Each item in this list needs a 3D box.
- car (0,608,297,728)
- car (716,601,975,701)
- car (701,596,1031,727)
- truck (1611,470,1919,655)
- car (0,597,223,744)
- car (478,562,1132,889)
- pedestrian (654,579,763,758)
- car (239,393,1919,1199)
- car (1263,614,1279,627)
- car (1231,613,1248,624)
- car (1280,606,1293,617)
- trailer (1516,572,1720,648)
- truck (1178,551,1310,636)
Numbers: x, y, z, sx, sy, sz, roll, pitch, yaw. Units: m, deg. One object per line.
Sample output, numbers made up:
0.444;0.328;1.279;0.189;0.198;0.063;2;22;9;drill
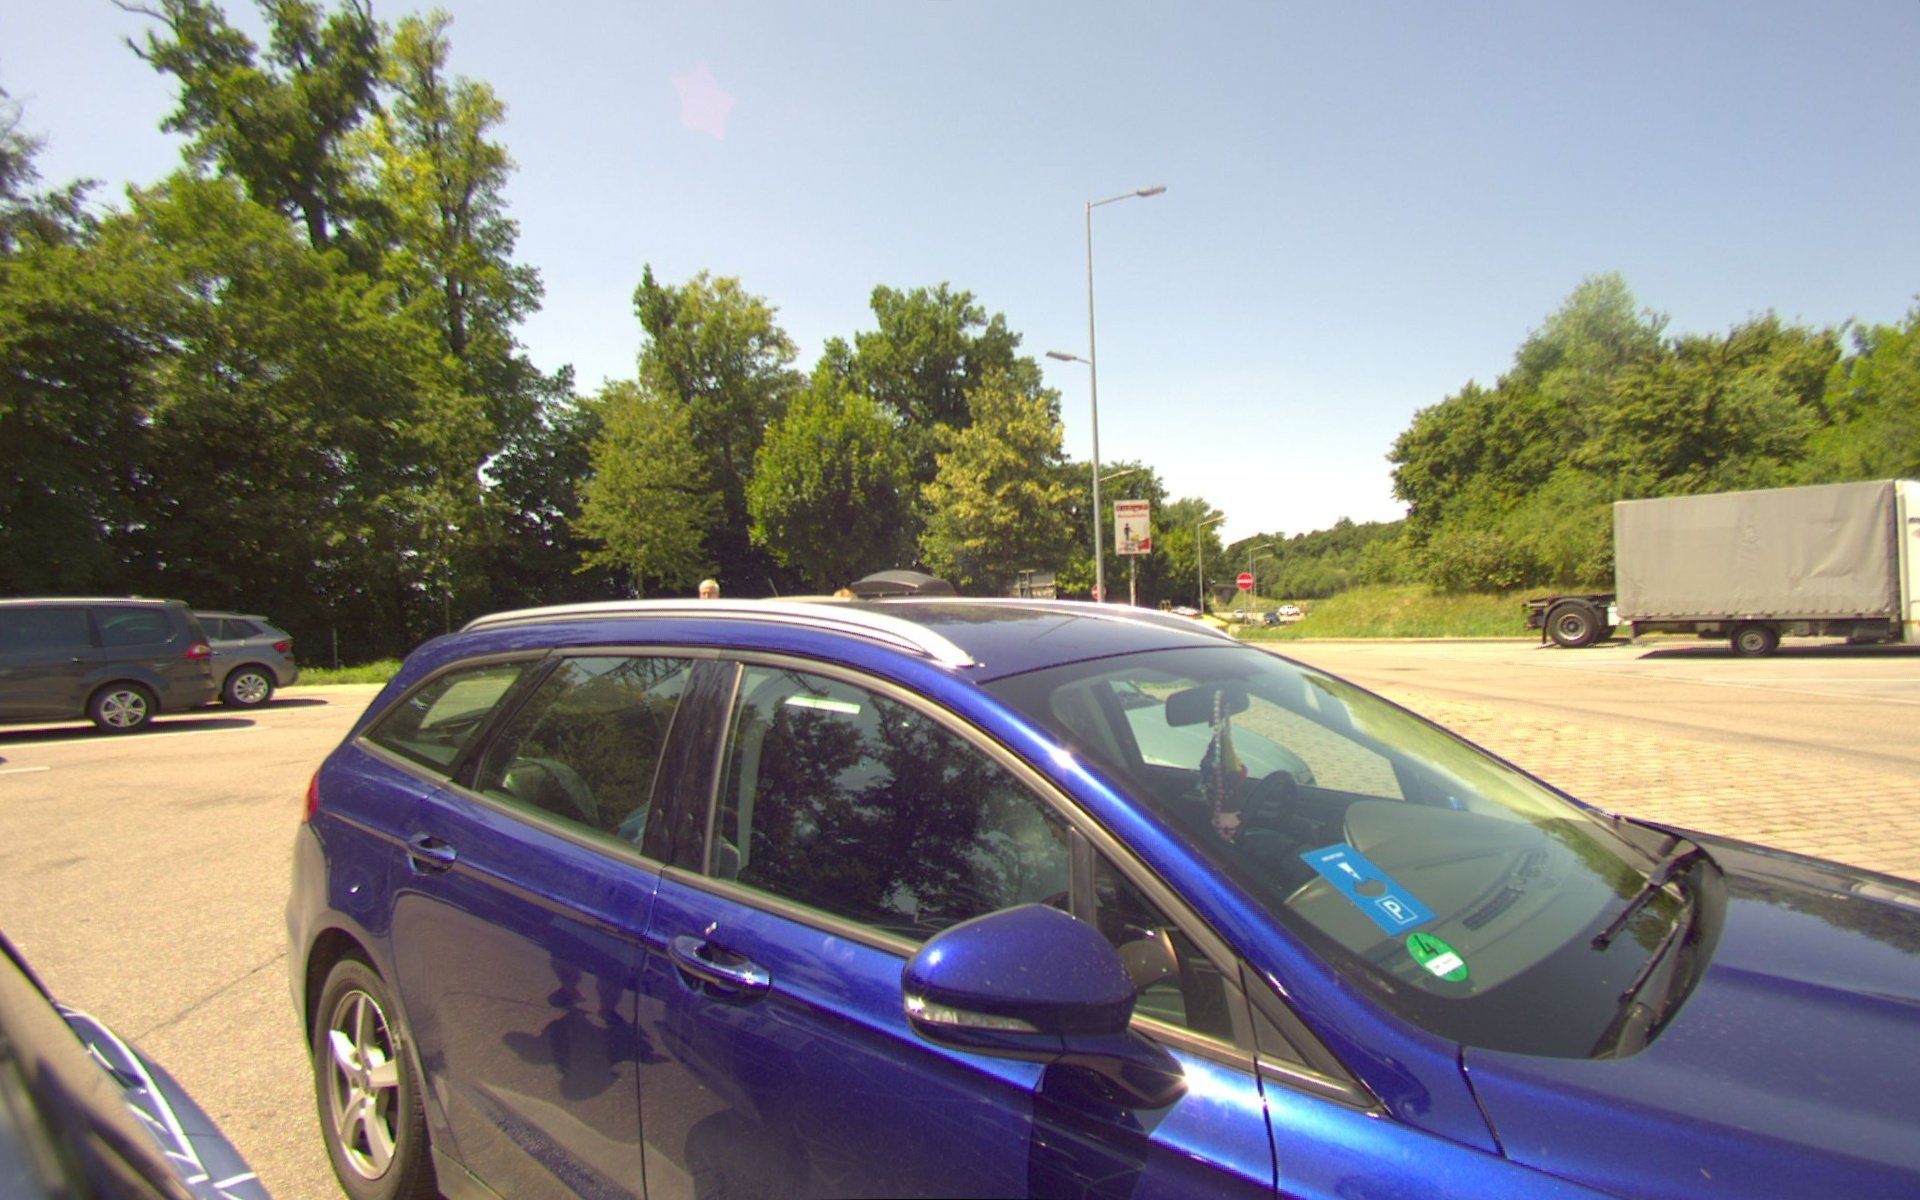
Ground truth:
-12.735;0.978;15.643;3.910;1.598;1.782;-1;-1;-43;car
-2.036;0.834;17.120;4.466;1.476;1.756;-3;-1;40;car
-1.384;0.762;13.567;4.466;1.476;1.756;-3;-1;40;car
16.740;-0.638;18.896;7.348;3.152;2.339;-3;-2;41;truck
-11.707;0.852;12.592;3.910;1.701;1.782;-1;-1;-43;car
-1.273;0.636;6.694;4.466;1.476;1.756;-3;-1;40;car
-2.390;0.623;9.622;0.759;1.614;0.663;-3;-1;41;pedestrian
0.215;0.636;2.135;4.466;1.476;1.756;-3;-1;40;car
40.911;2.661;133.090;1.702;1.547;3.827;-2;-1;20;car
43.278;2.864;156.574;1.976;1.530;3.990;-2;-1;8;car
52.763;1.811;163.575;1.752;1.719;3.982;-2;-1;14;car
15.756;0.279;24.352;3.900;1.674;1.456;-2;-1;41;trailer
13.313;-0.242;47.451;5.782;3.720;1.987;-2;-1;20;truck
